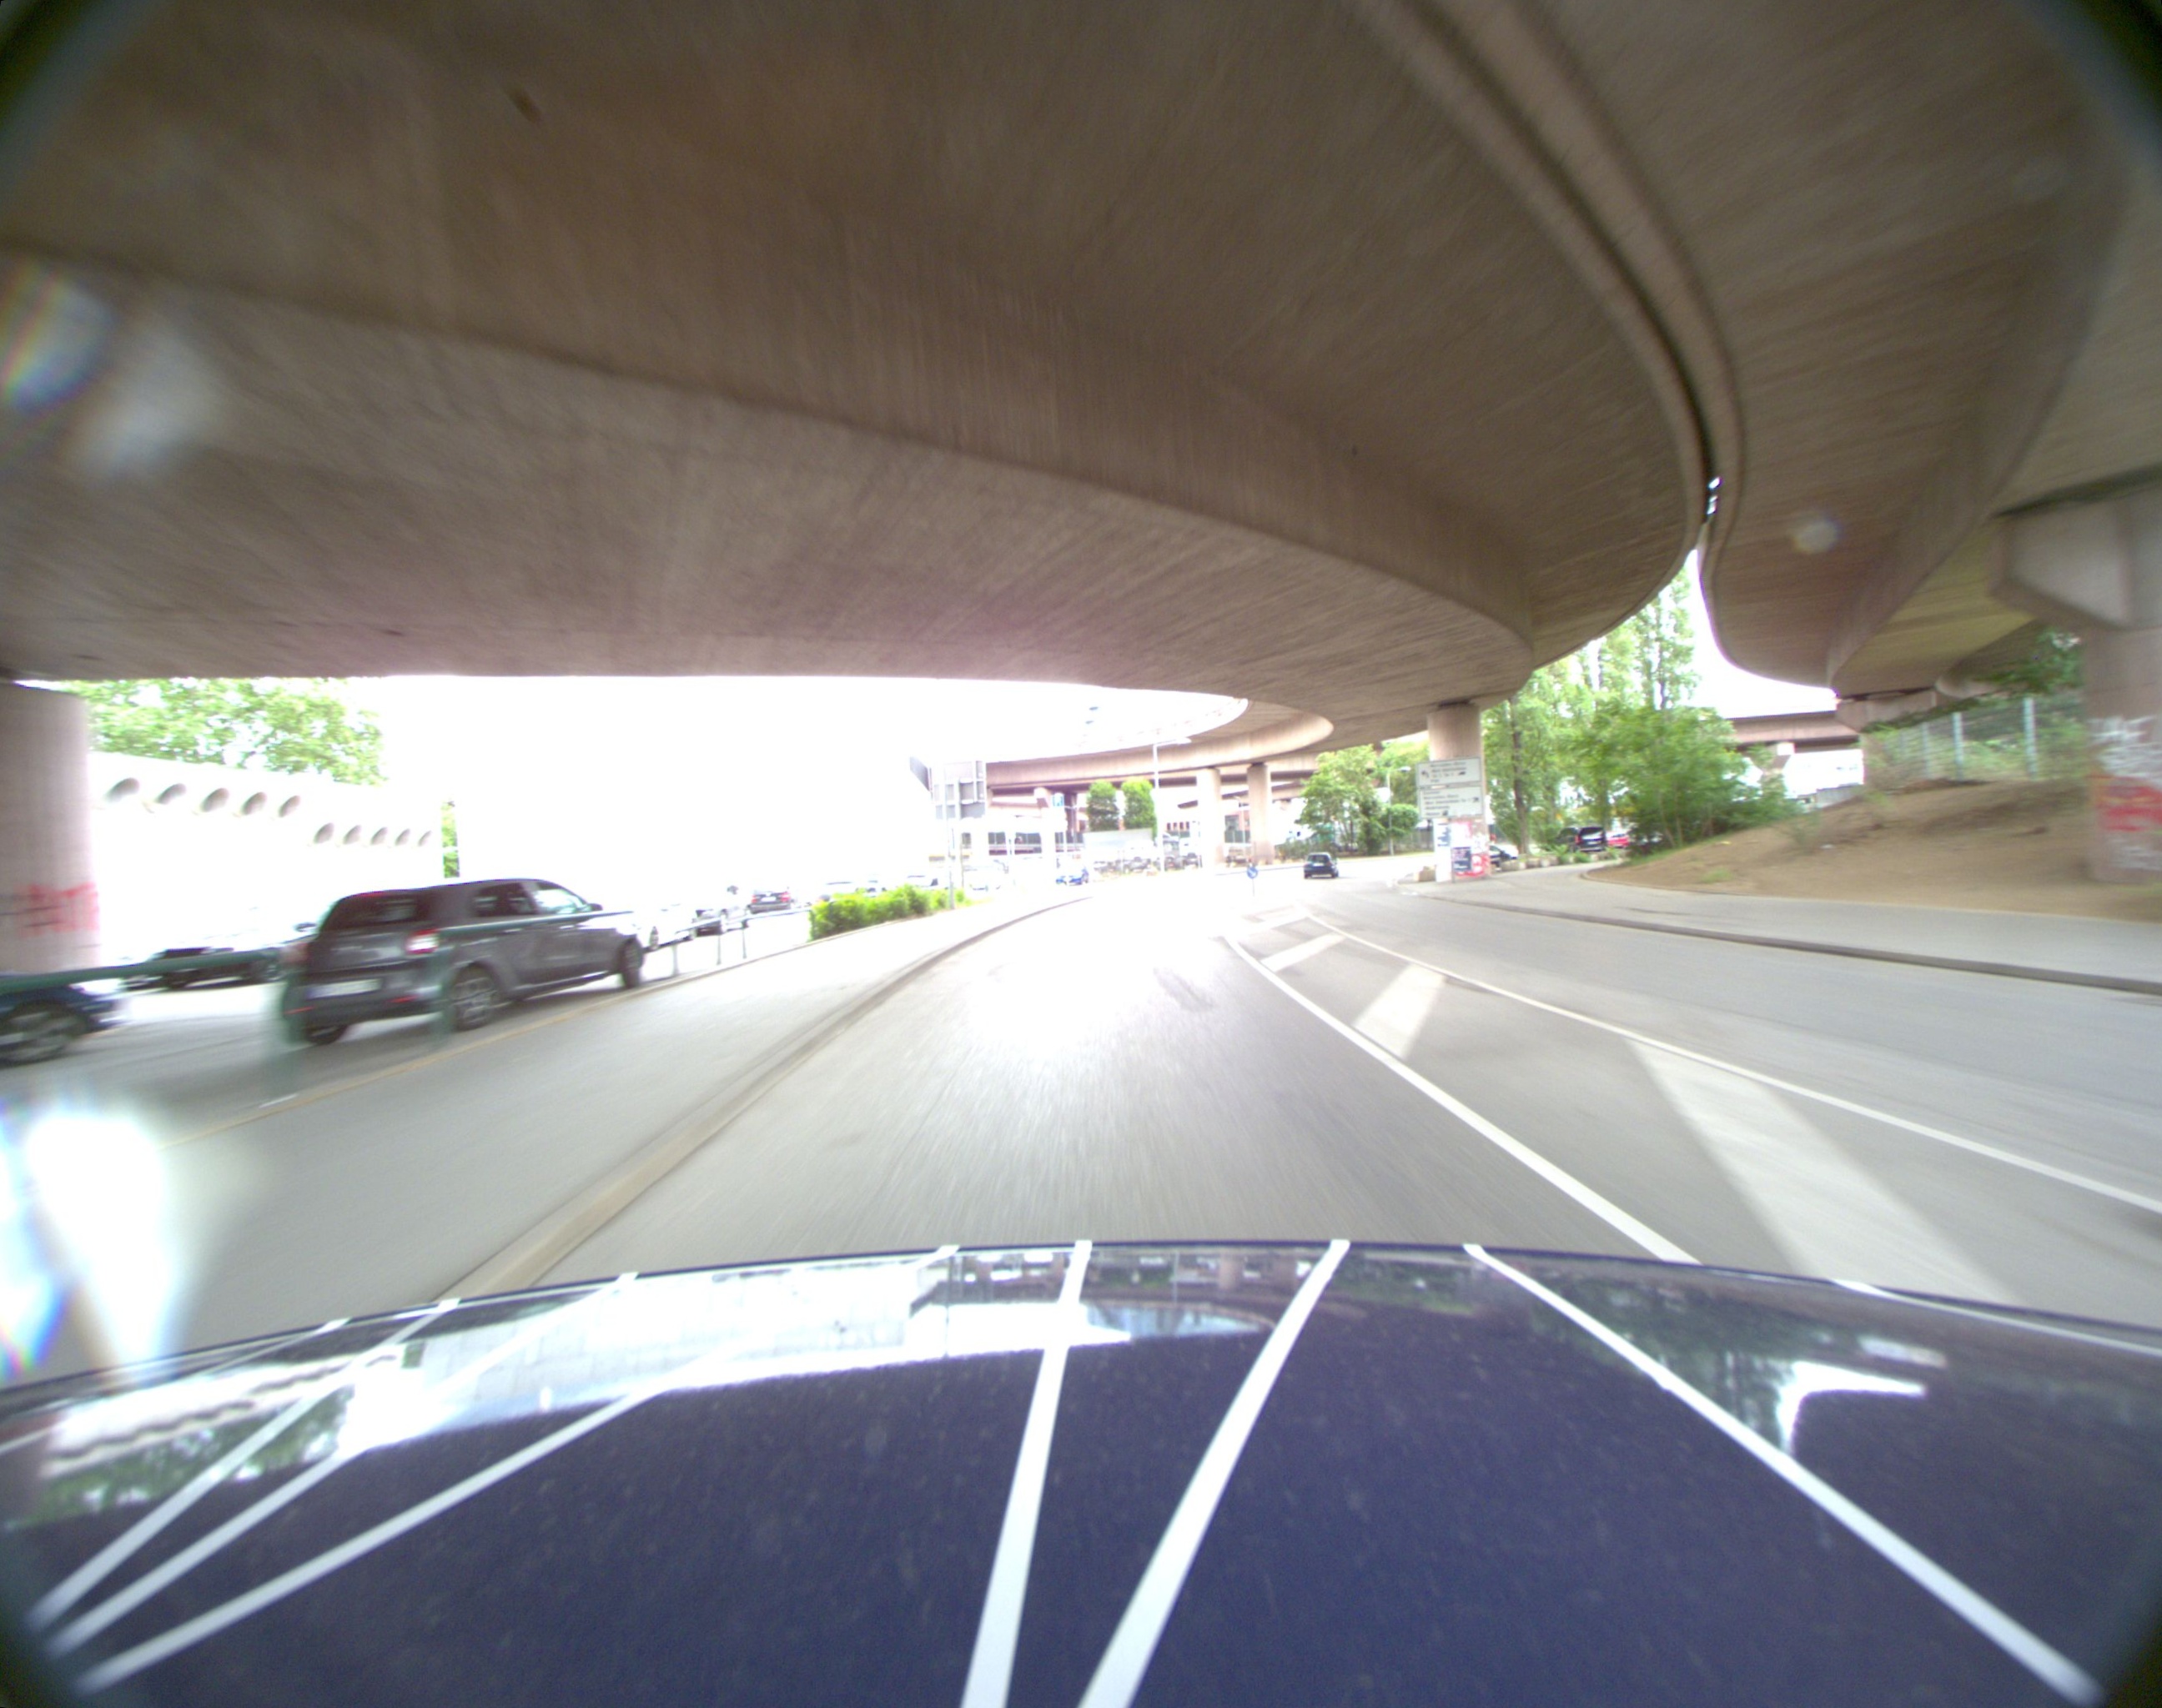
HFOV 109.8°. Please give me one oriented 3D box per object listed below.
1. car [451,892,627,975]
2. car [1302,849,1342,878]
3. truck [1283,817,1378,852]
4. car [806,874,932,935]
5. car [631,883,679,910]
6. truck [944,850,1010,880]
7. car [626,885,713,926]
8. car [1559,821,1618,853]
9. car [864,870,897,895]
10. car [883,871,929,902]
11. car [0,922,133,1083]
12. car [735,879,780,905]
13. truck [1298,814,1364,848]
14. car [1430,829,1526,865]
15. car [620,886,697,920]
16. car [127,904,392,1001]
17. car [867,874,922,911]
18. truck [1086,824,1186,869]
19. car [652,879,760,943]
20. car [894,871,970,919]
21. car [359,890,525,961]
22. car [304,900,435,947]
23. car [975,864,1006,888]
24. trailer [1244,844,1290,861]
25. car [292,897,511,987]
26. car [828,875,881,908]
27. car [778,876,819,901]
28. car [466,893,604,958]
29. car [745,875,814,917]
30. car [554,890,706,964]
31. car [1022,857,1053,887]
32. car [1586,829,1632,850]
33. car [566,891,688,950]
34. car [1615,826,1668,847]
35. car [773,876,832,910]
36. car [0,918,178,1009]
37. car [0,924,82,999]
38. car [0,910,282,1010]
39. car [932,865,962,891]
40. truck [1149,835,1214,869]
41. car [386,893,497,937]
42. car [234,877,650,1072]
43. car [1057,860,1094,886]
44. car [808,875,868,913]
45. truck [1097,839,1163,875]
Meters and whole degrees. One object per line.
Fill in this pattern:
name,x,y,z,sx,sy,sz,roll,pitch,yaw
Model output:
car,-13.364,1.875,19.079,1.838,1.583,4.189,-3,0,-9
car,13.484,0.506,42.326,1.678,1.422,4.006,-3,0,23
truck,28.647,-2.198,87.234,10.213,3.478,2.269,-3,2,-6
car,-6.369,1.477,23.340,1.732,1.470,4.254,-3,0,15
car,-27.533,2.729,49.249,1.497,1.451,4.061,-3,0,-12
truck,-11.542,1.196,85.106,6.927,2.915,3.050,-3,0,-3
car,-18.281,2.250,33.991,1.858,1.435,4.617,-3,0,-8
car,33.717,-1.135,50.644,1.853,1.906,4.978,-3,1,17
car,-13.589,1.923,51.578,1.623,1.535,3.096,-3,0,-6
car,-9.430,1.727,41.315,1.839,1.417,4.439,-3,0,-6
car,-11.922,1.631,6.759,1.788,1.498,3.862,-4,1,14
car,-21.052,2.439,49.587,1.776,1.448,4.357,-3,0,-12
truck,27.566,-2.486,84.022,6.409,3.389,2.270,-3,2,-3
car,19.438,-0.342,37.145,4.780,1.422,1.825,-3,-2,-31
car,-21.690,2.463,39.245,1.839,1.417,4.439,-3,0,-6
car,-18.389,2.103,17.361,1.838,1.583,4.189,-3,0,-9
car,-8.729,1.755,35.993,1.858,1.466,4.684,-3,0,-6
truck,5.908,-0.794,82.653,10.133,4.340,3.912,-3,0,-7
car,-11.825,1.725,24.295,1.745,1.665,4.466,-3,0,-9
car,-5.329,1.449,27.484,1.542,1.470,2.763,-3,0,15
car,-19.205,2.079,23.145,1.757,1.681,4.428,-3,0,-9
car,-29.980,2.856,32.230,1.769,1.524,4.486,-3,0,-8
car,-6.260,1.520,52.981,1.775,1.448,4.553,-3,0,-3
trailer,17.516,-0.173,71.441,4.389,1.324,1.602,-4,2,-32
car,-15.859,1.957,18.090,1.838,1.583,4.189,-3,0,-9
car,-12.066,1.947,40.722,1.839,1.504,4.498,-3,0,-6
car,-18.492,2.225,49.923,1.776,1.448,4.357,-3,0,-12
car,-16.752,2.124,23.588,1.757,1.547,4.084,-3,0,-9
car,-13.743,1.876,34.879,1.858,1.618,4.617,-3,0,-8
car,-11.331,1.762,19.462,1.838,1.413,4.189,-3,0,-9
car,-3.087,1.271,54.580,1.893,1.945,4.680,-3,0,0
car,36.840,-1.041,53.096,1.562,1.372,3.709,-3,1,17
car,-14.329,2.027,24.303,1.757,1.440,4.455,-3,0,-9
car,40.079,-1.276,54.458,1.693,1.356,4.521,-3,1,18
car,-14.752,2.037,40.551,1.839,1.504,4.498,-3,0,-6
car,-23.180,2.429,16.755,1.838,1.583,4.189,-3,0,-9
car,-25.419,2.546,16.628,1.838,1.583,4.189,-3,0,-9
car,-20.811,2.235,16.982,1.838,1.583,4.189,-3,0,-9
car,-9.202,1.639,52.451,1.775,1.578,4.358,-3,0,-7
truck,9.031,-0.255,67.841,2.418,2.728,7.249,-3,0,36
car,-27.530,2.568,32.898,1.769,1.524,3.973,-3,0,-8
car,-6.691,1.134,8.512,1.610,1.524,3.410,-5,0,1
car,-0.321,1.318,54.607,1.773,1.625,4.688,-3,0,10
car,-11.230,1.808,35.468,1.858,1.466,4.683,-3,0,-8
truck,4.404,0.201,67.811,2.452,2.869,6.130,-3,0,42
